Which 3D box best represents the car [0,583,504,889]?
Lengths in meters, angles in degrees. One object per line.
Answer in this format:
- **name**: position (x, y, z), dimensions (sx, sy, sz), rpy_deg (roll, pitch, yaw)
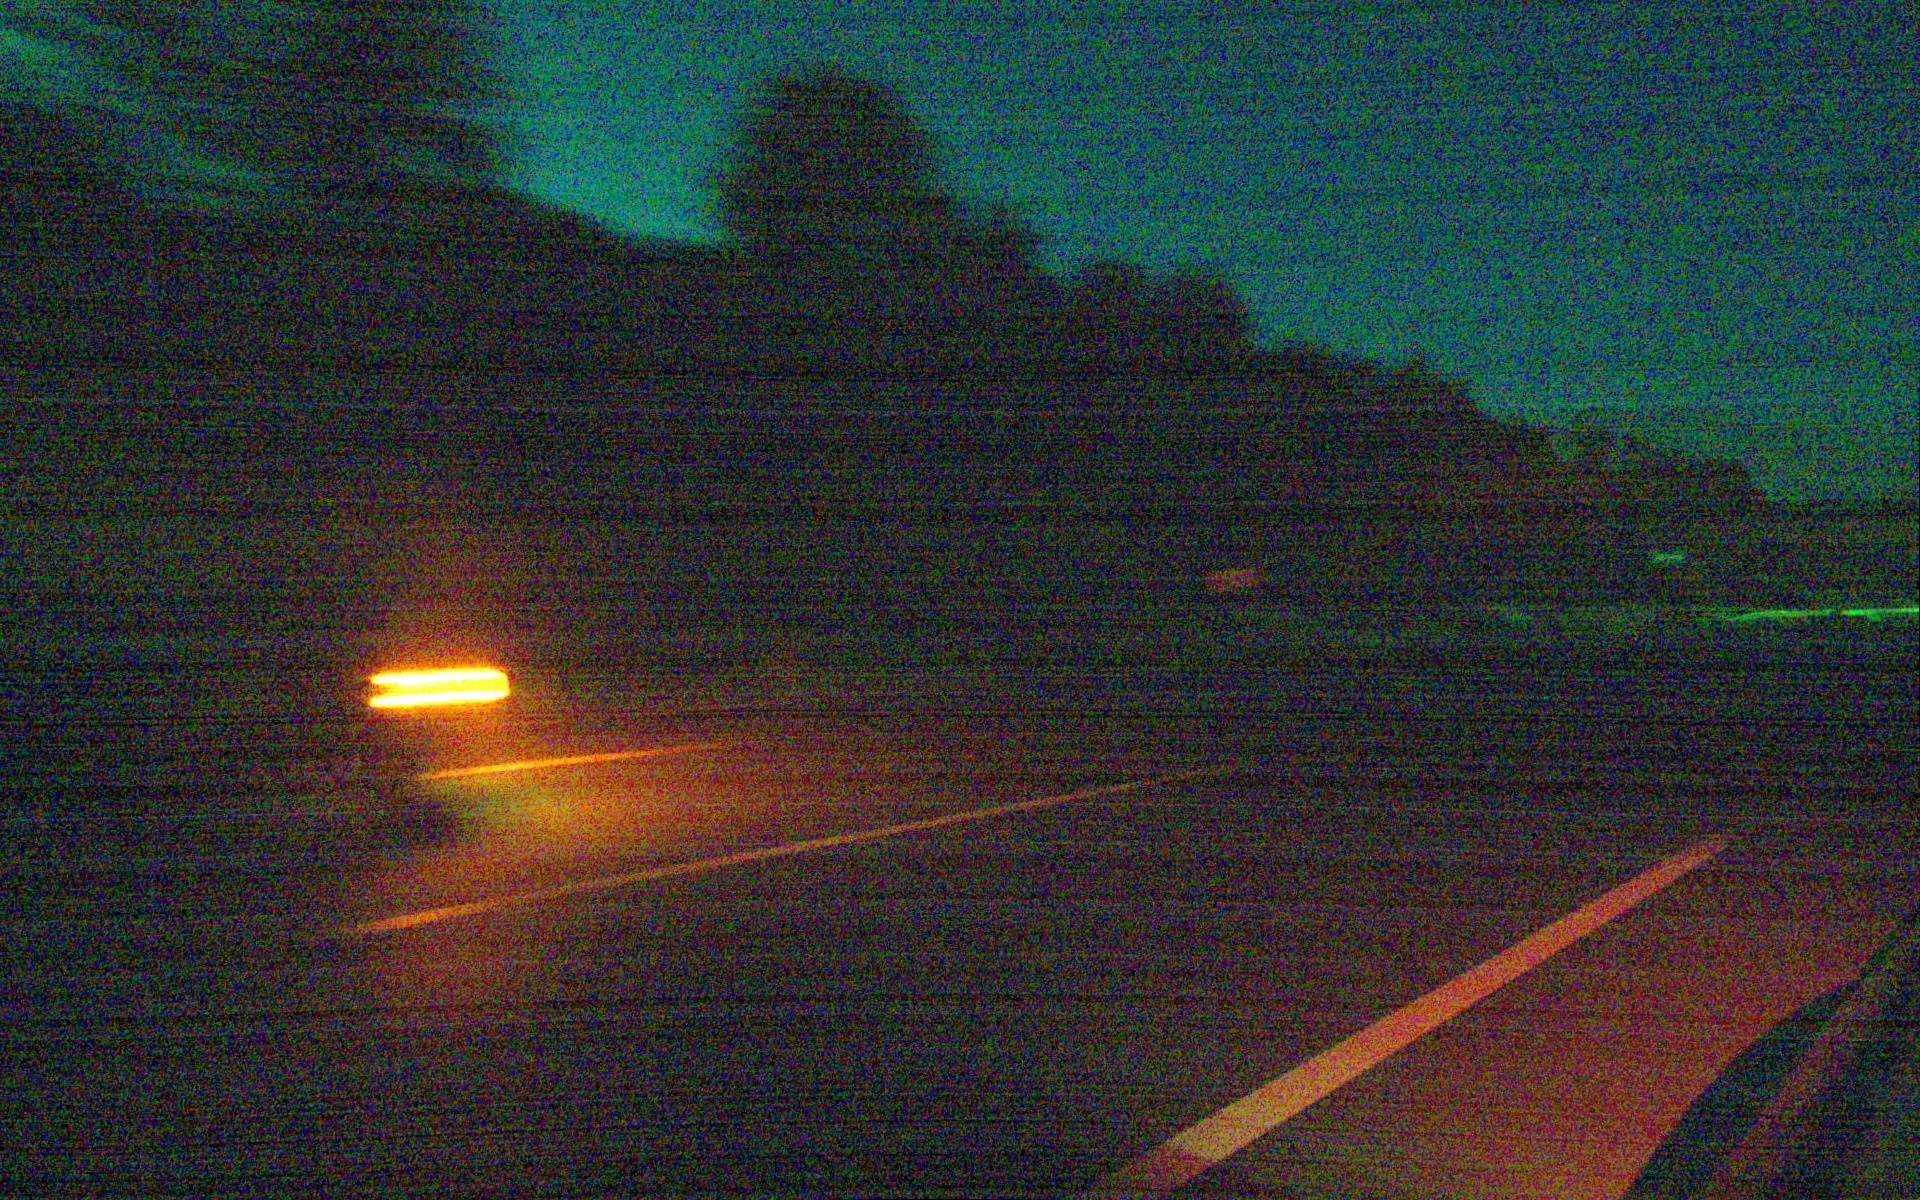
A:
- **car**: position (-5.073, 0.663, 5.771), dimensions (4.175, 1.485, 1.823), rpy_deg (-1, 0, -43)
